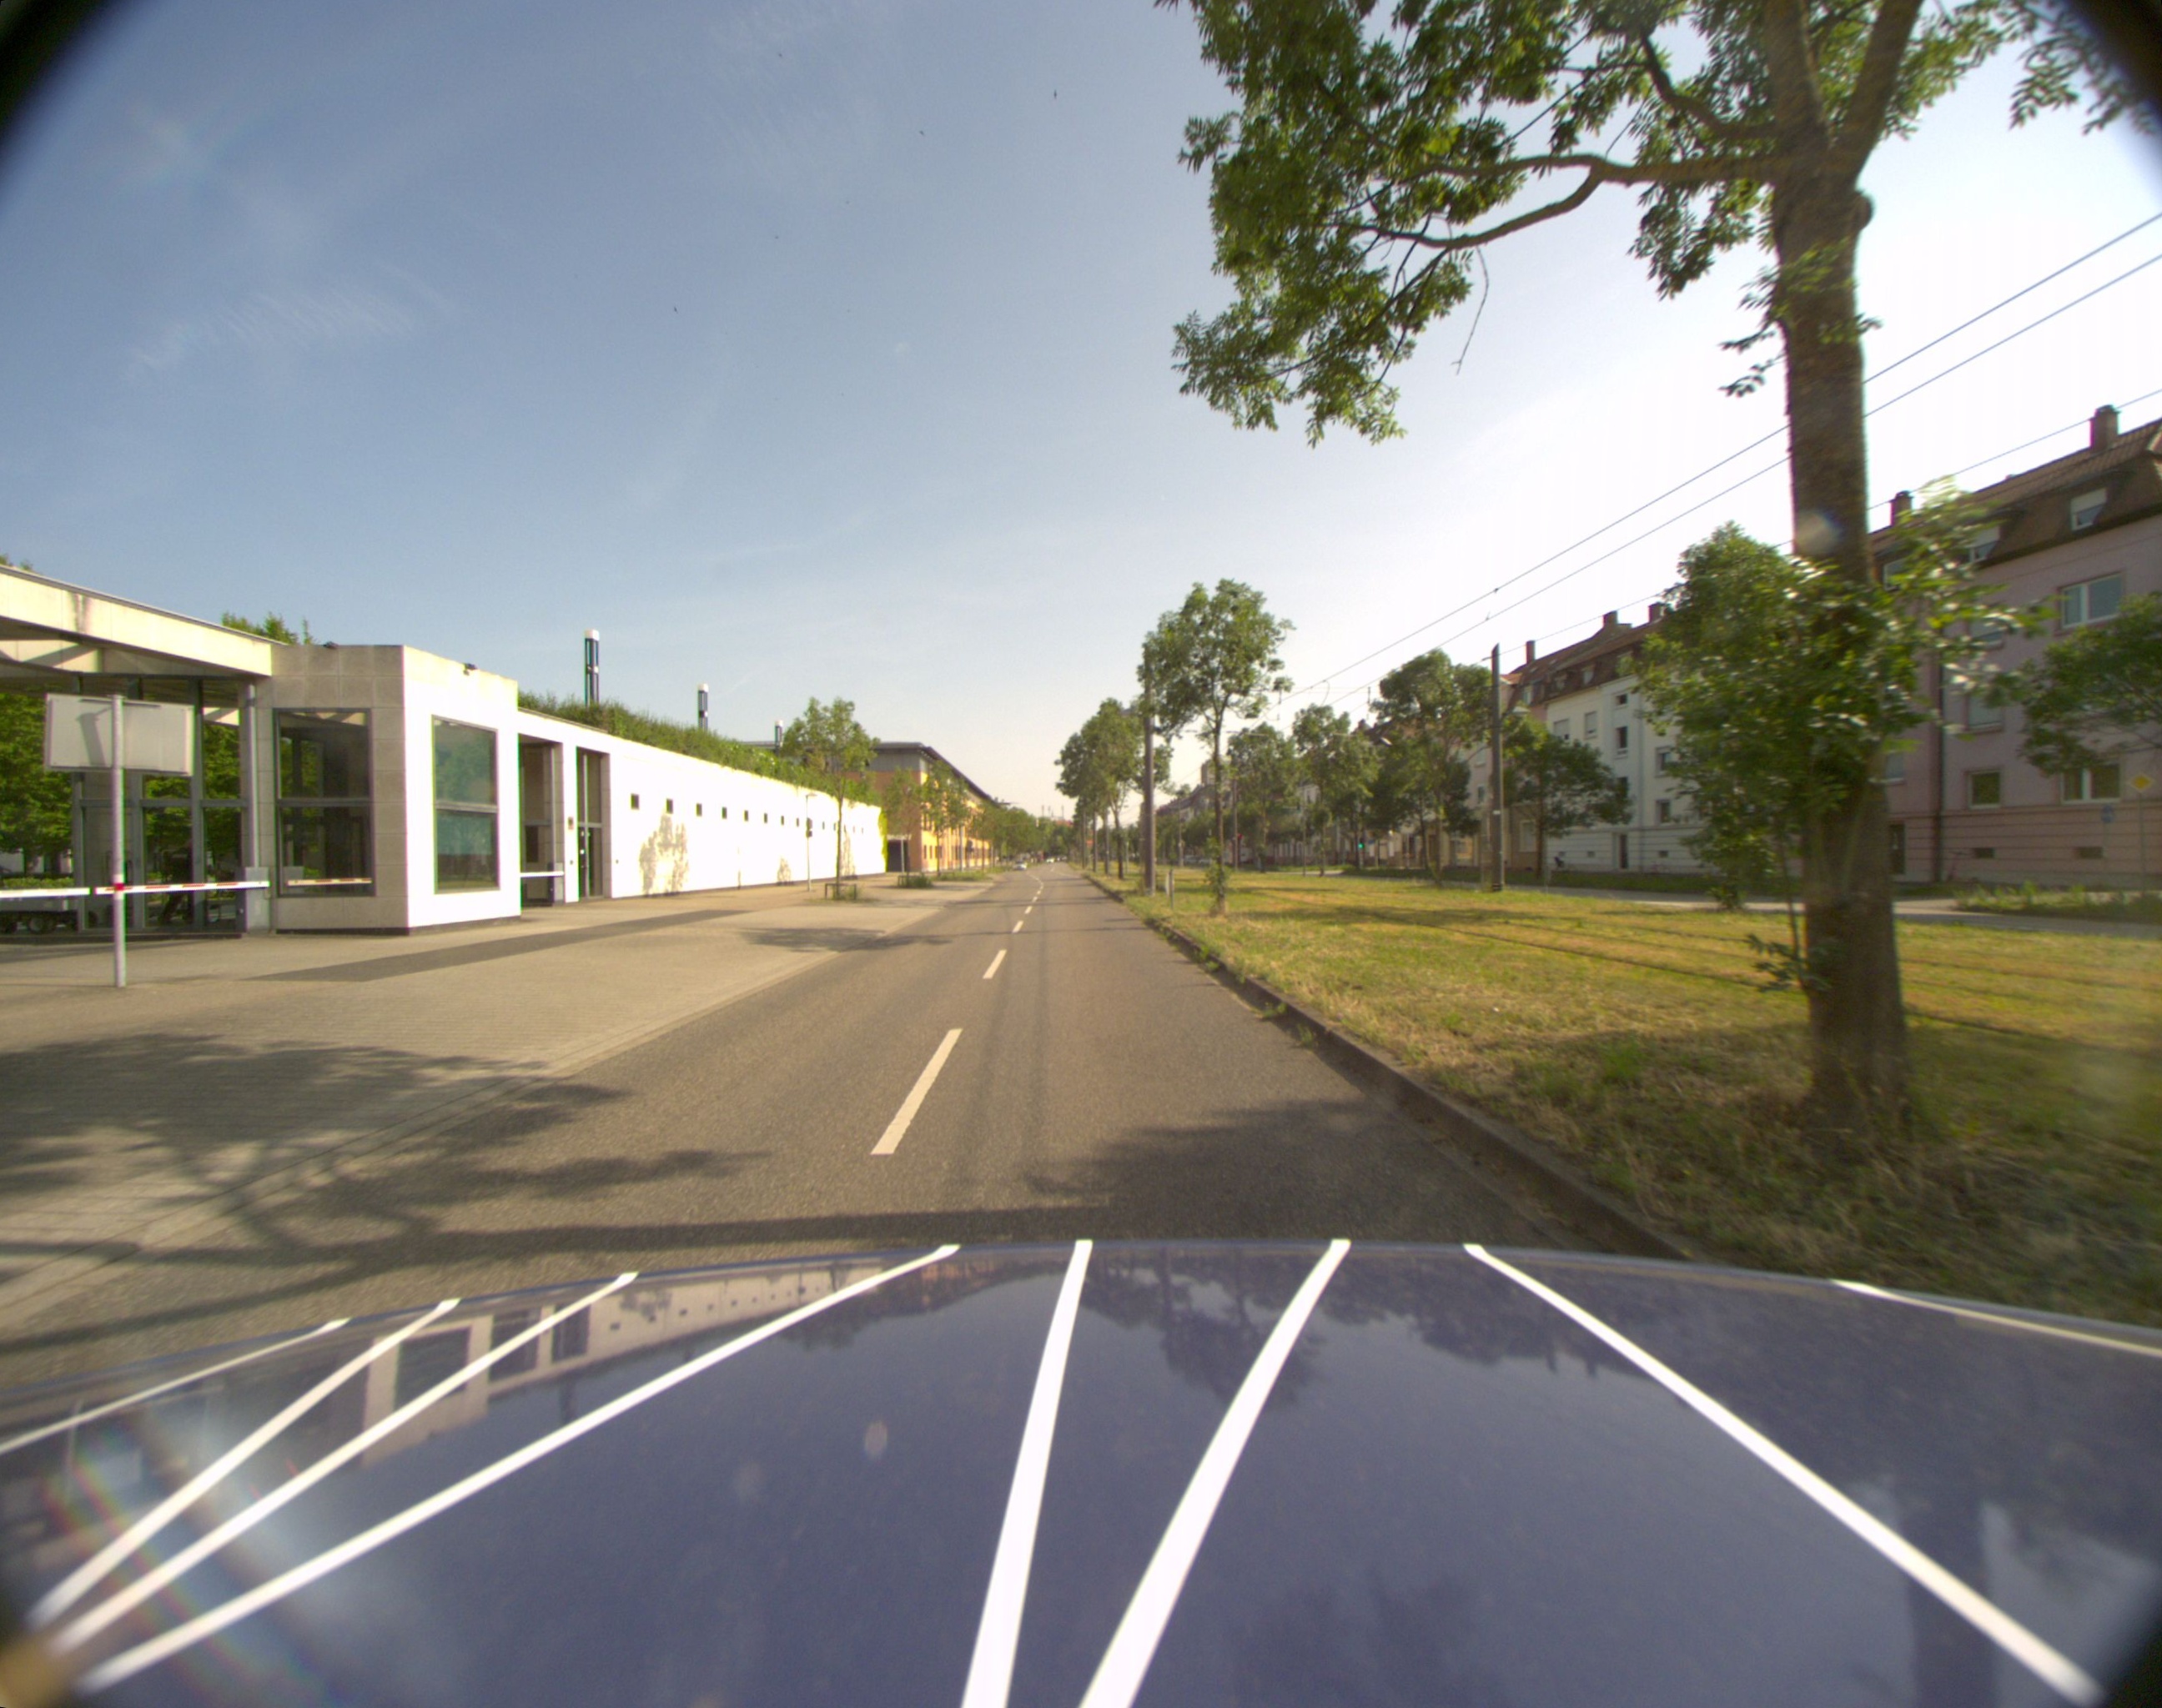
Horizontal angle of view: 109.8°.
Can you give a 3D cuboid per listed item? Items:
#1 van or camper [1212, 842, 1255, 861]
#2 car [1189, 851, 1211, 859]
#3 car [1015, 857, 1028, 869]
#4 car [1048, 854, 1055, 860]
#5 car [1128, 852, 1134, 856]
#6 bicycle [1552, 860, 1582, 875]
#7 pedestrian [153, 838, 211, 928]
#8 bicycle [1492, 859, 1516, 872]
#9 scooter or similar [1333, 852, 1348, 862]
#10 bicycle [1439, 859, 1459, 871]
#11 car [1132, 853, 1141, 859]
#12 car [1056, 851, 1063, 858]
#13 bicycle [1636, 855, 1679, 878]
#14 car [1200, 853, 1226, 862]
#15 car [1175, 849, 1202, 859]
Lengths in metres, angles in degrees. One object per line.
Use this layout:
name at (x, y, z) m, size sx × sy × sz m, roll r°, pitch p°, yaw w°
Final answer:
van or camper at (23.291, -0.336, 115.907) m, size 5.910 × 2.559 × 2.203 m, roll -3°, pitch 1°, yaw 33°
car at (22.221, 0.130, 142.192) m, size 3.677 × 1.234 × 1.665 m, roll -3°, pitch 1°, yaw 33°
car at (-8.261, 1.213, 104.987) m, size 1.629 × 1.476 × 3.365 m, roll -3°, pitch 1°, yaw -3°
car at (-7.621, 0.795, 198.924) m, size 1.693 × 1.476 × 3.365 m, roll -3°, pitch 1°, yaw -3°
car at (17.110, -0.036, 260.765) m, size 1.952 × 1.451 × 4.648 m, roll -3°, pitch 1°, yaw 1°
bicycle at (29.367, 0.789, 45.915) m, size 0.448 × 0.852 × 1.947 m, roll -3°, pitch 1°, yaw -3°
pedestrian at (-19.223, 0.606, 16.261) m, size 0.558 × 1.862 × 0.593 m, roll -3°, pitch 4°, yaw -33°
bicycle at (29.263, 0.798, 52.579) m, size 0.438 × 0.784 × 1.947 m, roll -3°, pitch 1°, yaw -3°
scooter or similar at (28.862, 0.375, 84.486) m, size 0.743 × 1.062 × 1.485 m, roll -4°, pitch 1°, yaw -23°
bicycle at (29.117, 0.833, 60.134) m, size 0.469 × 0.884 × 1.947 m, roll -3°, pitch 1°, yaw -3°
car at (14.978, 0.615, 205.217) m, size 1.817 × 1.425 × 3.924 m, roll -3°, pitch 1°, yaw -2°
car at (-6.646, 0.172, 233.897) m, size 1.999 × 2.002 × 3.999 m, roll -3°, pitch 1°, yaw 0°
bicycle at (29.565, 0.624, 39.005) m, size 0.605 × 1.121 × 1.947 m, roll -3°, pitch 1°, yaw -3°
car at (22.454, 0.671, 129.048) m, size 4.004 × 1.309 × 1.665 m, roll -3°, pitch 1°, yaw 33°
car at (22.017, -0.009, 155.657) m, size 4.939 × 1.716 × 1.860 m, roll -3°, pitch 1°, yaw 33°
